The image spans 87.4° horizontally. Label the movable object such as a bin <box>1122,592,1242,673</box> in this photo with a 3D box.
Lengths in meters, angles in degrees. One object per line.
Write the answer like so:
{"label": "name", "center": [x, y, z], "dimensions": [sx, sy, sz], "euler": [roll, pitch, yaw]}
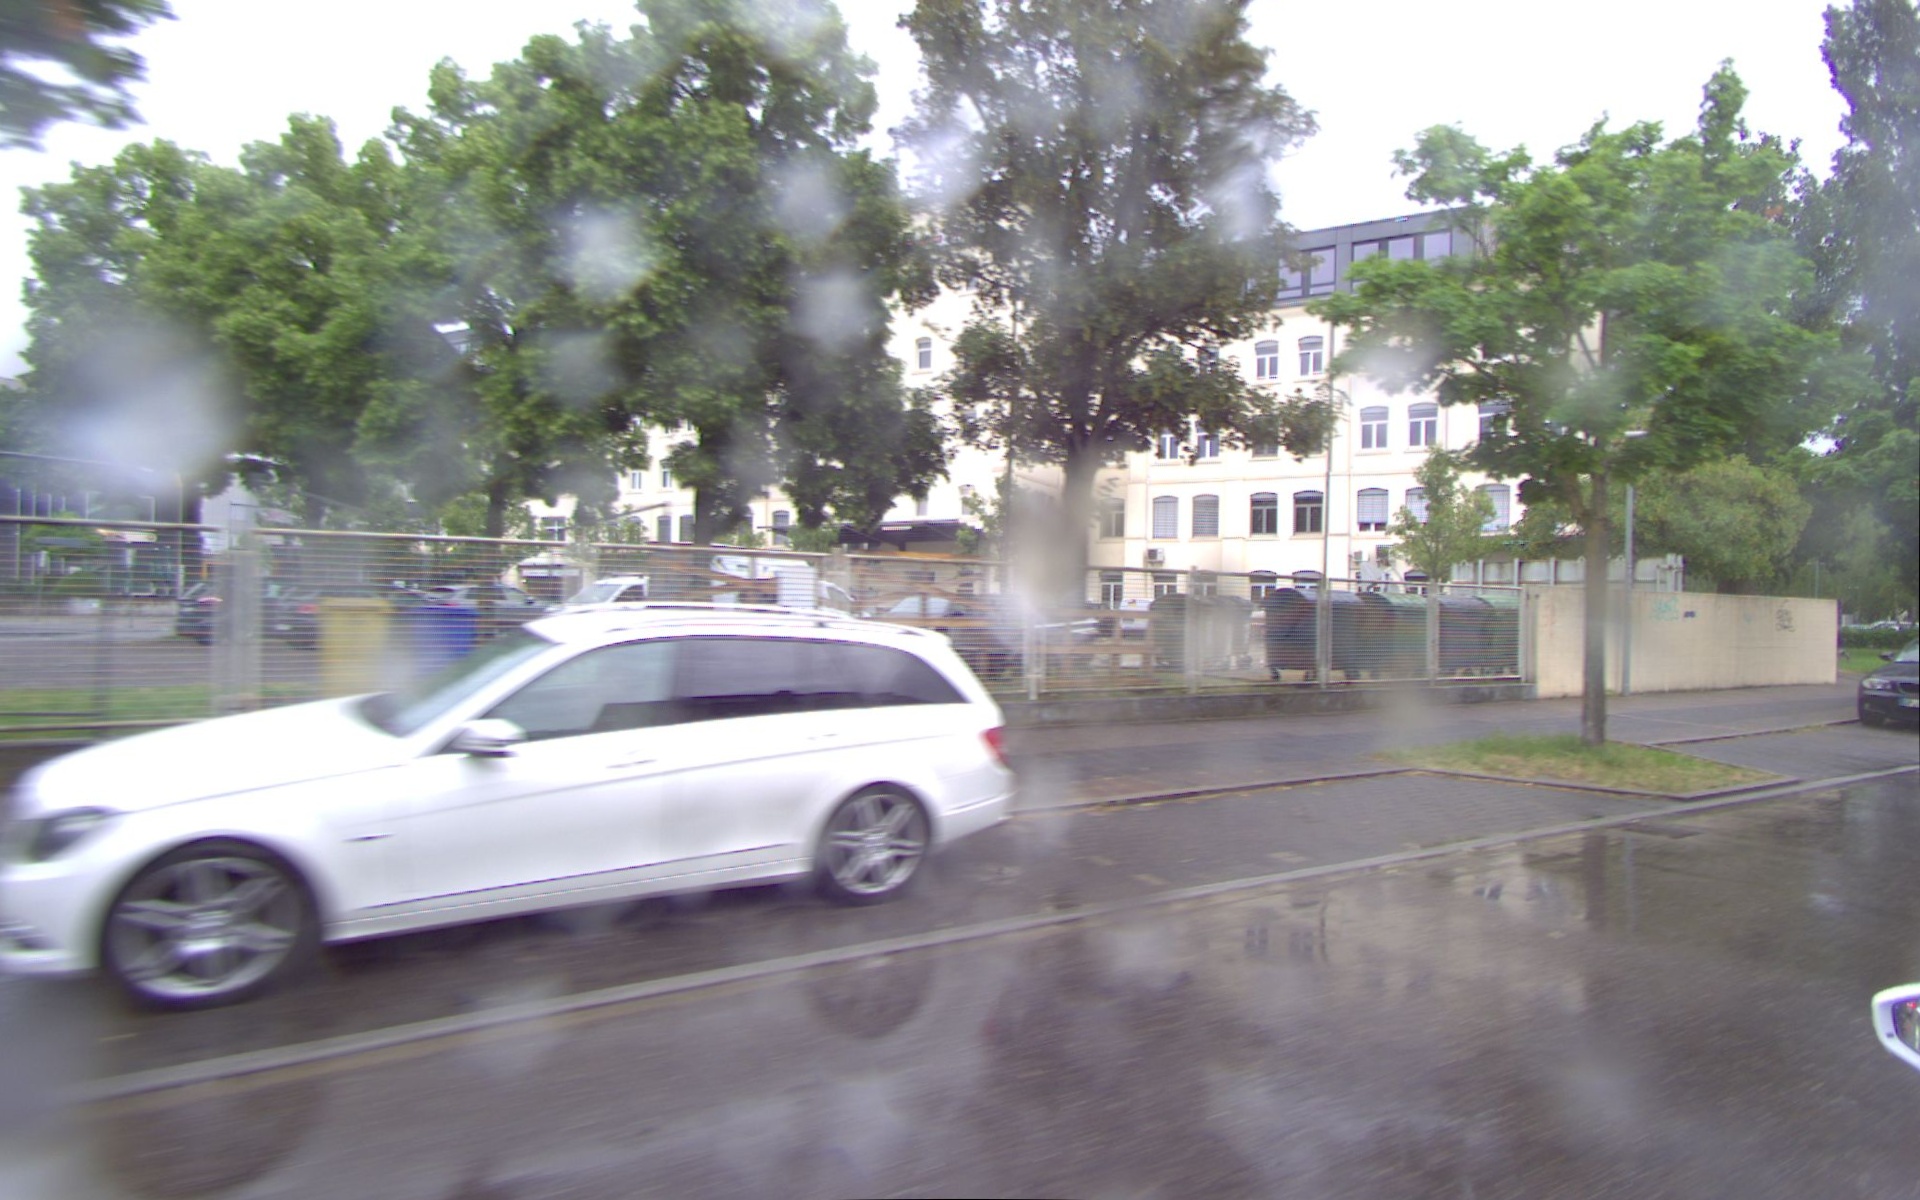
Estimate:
{"label": "movable object such as a bin", "center": [4.027, 0.586, 18.236], "dimensions": [1.768, 1.385, 1.210], "euler": [2, 0, -30]}

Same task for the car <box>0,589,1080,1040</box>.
{"label": "car", "center": [-1.753, 0.761, 5.215], "dimensions": [4.628, 1.479, 1.765], "euler": [2, 0, -32]}

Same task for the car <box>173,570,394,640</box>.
{"label": "car", "center": [-15.988, 0.139, 23.938], "dimensions": [1.729, 1.514, 3.991], "euler": [2, 0, 32]}

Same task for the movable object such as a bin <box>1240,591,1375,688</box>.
{"label": "movable object such as a bin", "center": [5.312, 0.579, 15.408], "dimensions": [1.247, 1.385, 1.484], "euler": [2, 0, -29]}

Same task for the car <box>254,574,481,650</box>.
{"label": "car", "center": [-13.035, 0.273, 22.334], "dimensions": [1.729, 1.514, 3.991], "euler": [2, 0, 32]}

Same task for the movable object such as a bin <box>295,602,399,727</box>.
{"label": "movable object such as a bin", "center": [-5.170, 0.531, 8.504], "dimensions": [0.705, 0.998, 0.543], "euler": [2, 0, -30]}

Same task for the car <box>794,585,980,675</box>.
{"label": "car", "center": [-1.413, 0.593, 21.069], "dimensions": [1.964, 1.662, 3.993], "euler": [2, 0, 30]}

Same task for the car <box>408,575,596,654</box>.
{"label": "car", "center": [-13.454, 0.429, 29.832], "dimensions": [2.111, 2.111, 4.712], "euler": [2, 0, 30]}

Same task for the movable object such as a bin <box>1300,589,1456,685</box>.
{"label": "movable object such as a bin", "center": [6.794, 0.576, 16.374], "dimensions": [1.810, 1.461, 1.552], "euler": [2, 0, -30]}

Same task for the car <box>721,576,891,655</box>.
{"label": "car", "center": [-3.481, 0.359, 23.485], "dimensions": [1.717, 1.662, 4.140], "euler": [2, 0, 30]}

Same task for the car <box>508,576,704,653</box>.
{"label": "car", "center": [-9.385, 0.378, 27.019], "dimensions": [2.111, 1.847, 4.712], "euler": [2, 0, 30]}

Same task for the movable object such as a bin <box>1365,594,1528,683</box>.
{"label": "movable object such as a bin", "center": [8.485, 0.647, 17.589], "dimensions": [1.735, 1.443, 1.901], "euler": [2, 0, -30]}

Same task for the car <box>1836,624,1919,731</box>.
{"label": "car", "center": [15.147, 1.157, 15.218], "dimensions": [4.051, 1.464, 1.687], "euler": [2, 0, -32]}

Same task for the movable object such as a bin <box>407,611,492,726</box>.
{"label": "movable object such as a bin", "center": [-4.504, 0.592, 8.856], "dimensions": [0.630, 0.961, 0.535], "euler": [2, 0, -30]}

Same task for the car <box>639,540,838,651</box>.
{"label": "car", "center": [-5.280, -0.081, 24.603], "dimensions": [2.111, 2.428, 4.712], "euler": [2, 0, 30]}
